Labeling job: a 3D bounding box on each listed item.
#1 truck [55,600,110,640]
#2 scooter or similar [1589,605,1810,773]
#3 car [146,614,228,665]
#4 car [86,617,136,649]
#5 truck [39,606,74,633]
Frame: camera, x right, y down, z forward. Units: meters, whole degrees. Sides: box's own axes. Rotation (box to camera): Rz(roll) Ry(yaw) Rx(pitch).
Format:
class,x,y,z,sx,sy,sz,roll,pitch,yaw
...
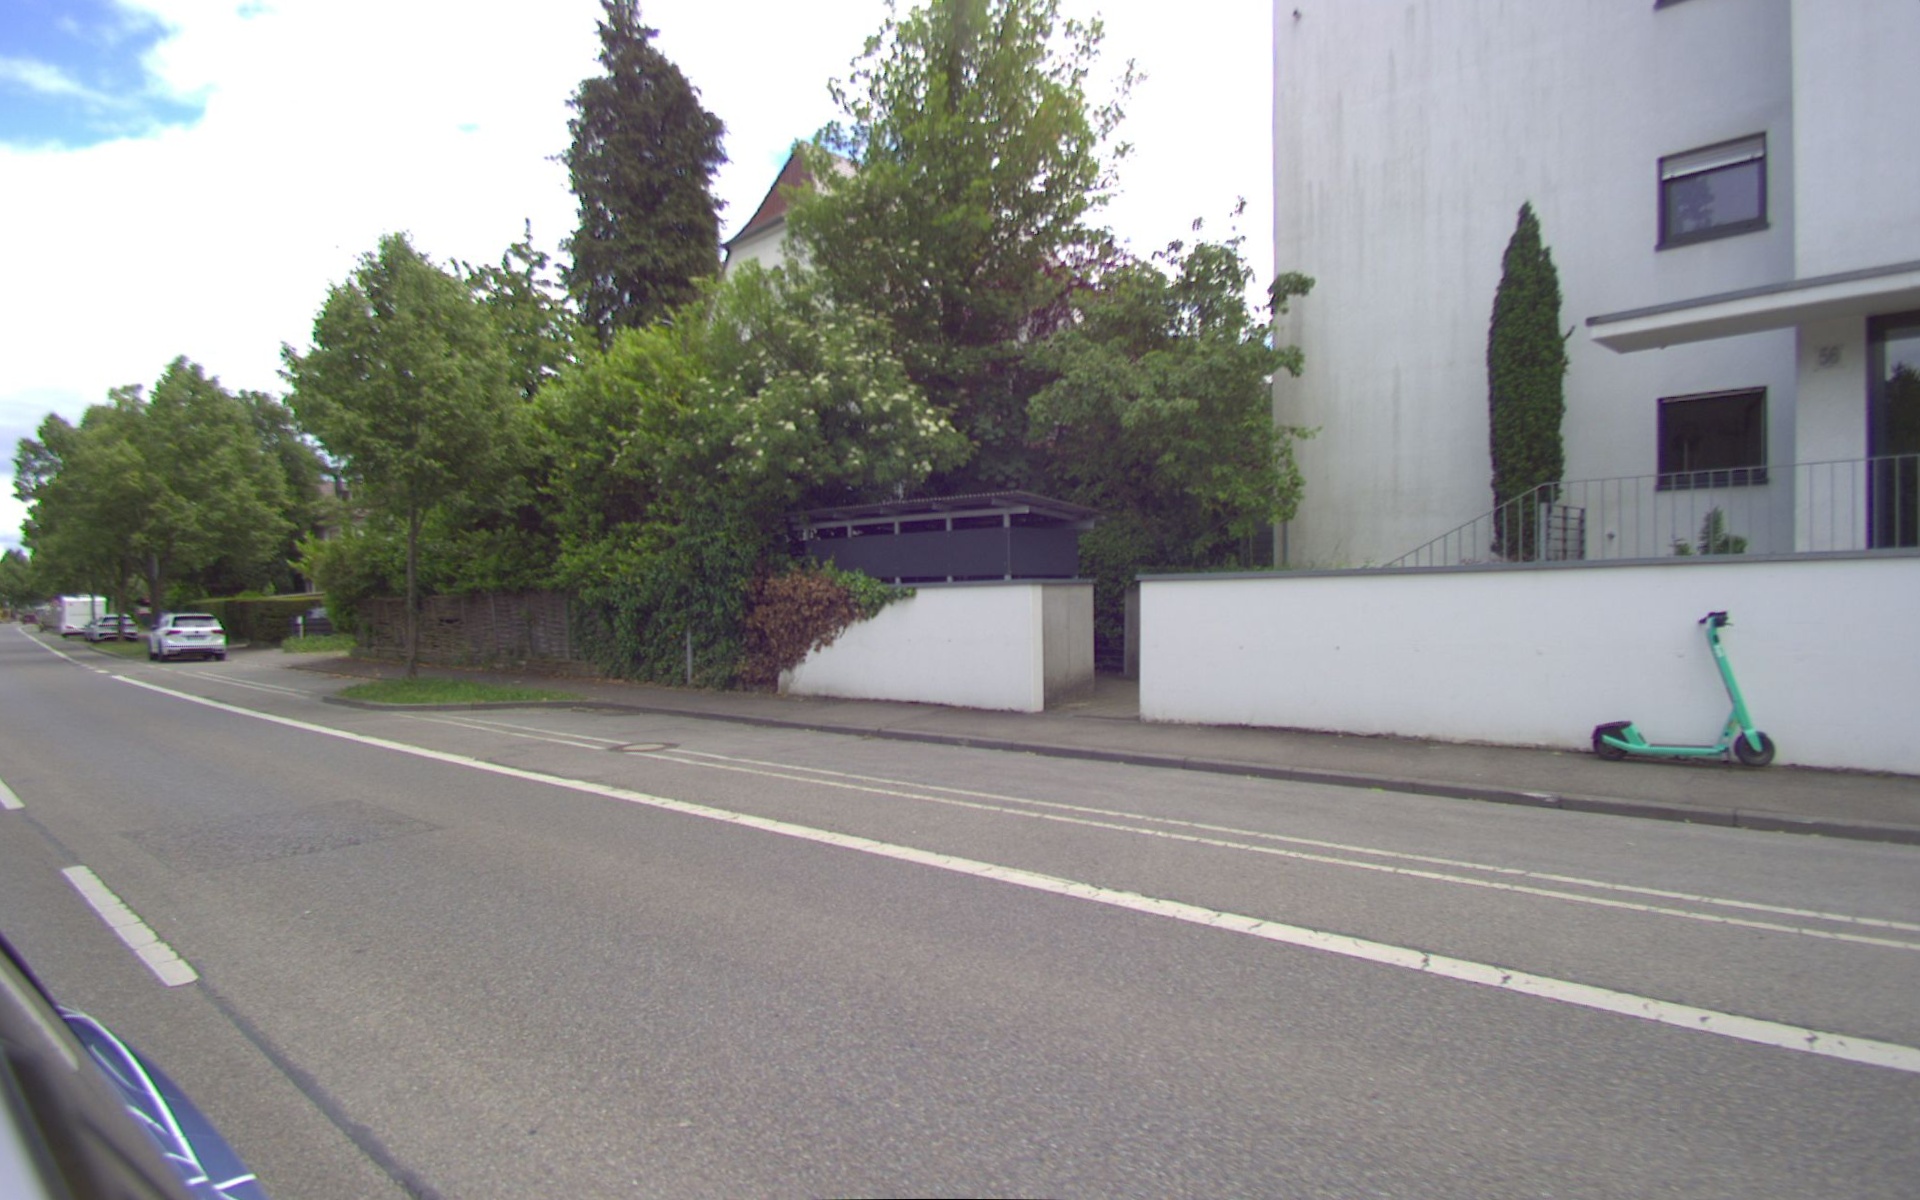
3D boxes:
class,x,y,z,sx,sy,sz,roll,pitch,yaw
truck,-64.077,1.411,73.859,2.605,2.794,6.260,-1,0,-45
scooter or similar,5.675,0.649,7.808,1.326,1.174,0.429,-1,3,41
car,-27.251,1.348,35.624,1.890,1.665,4.004,-1,-1,-43
car,-46.182,1.773,55.044,1.863,1.628,4.004,-1,-1,-43
truck,-88.829,1.916,99.463,4.497,2.564,1.973,-1,0,41
